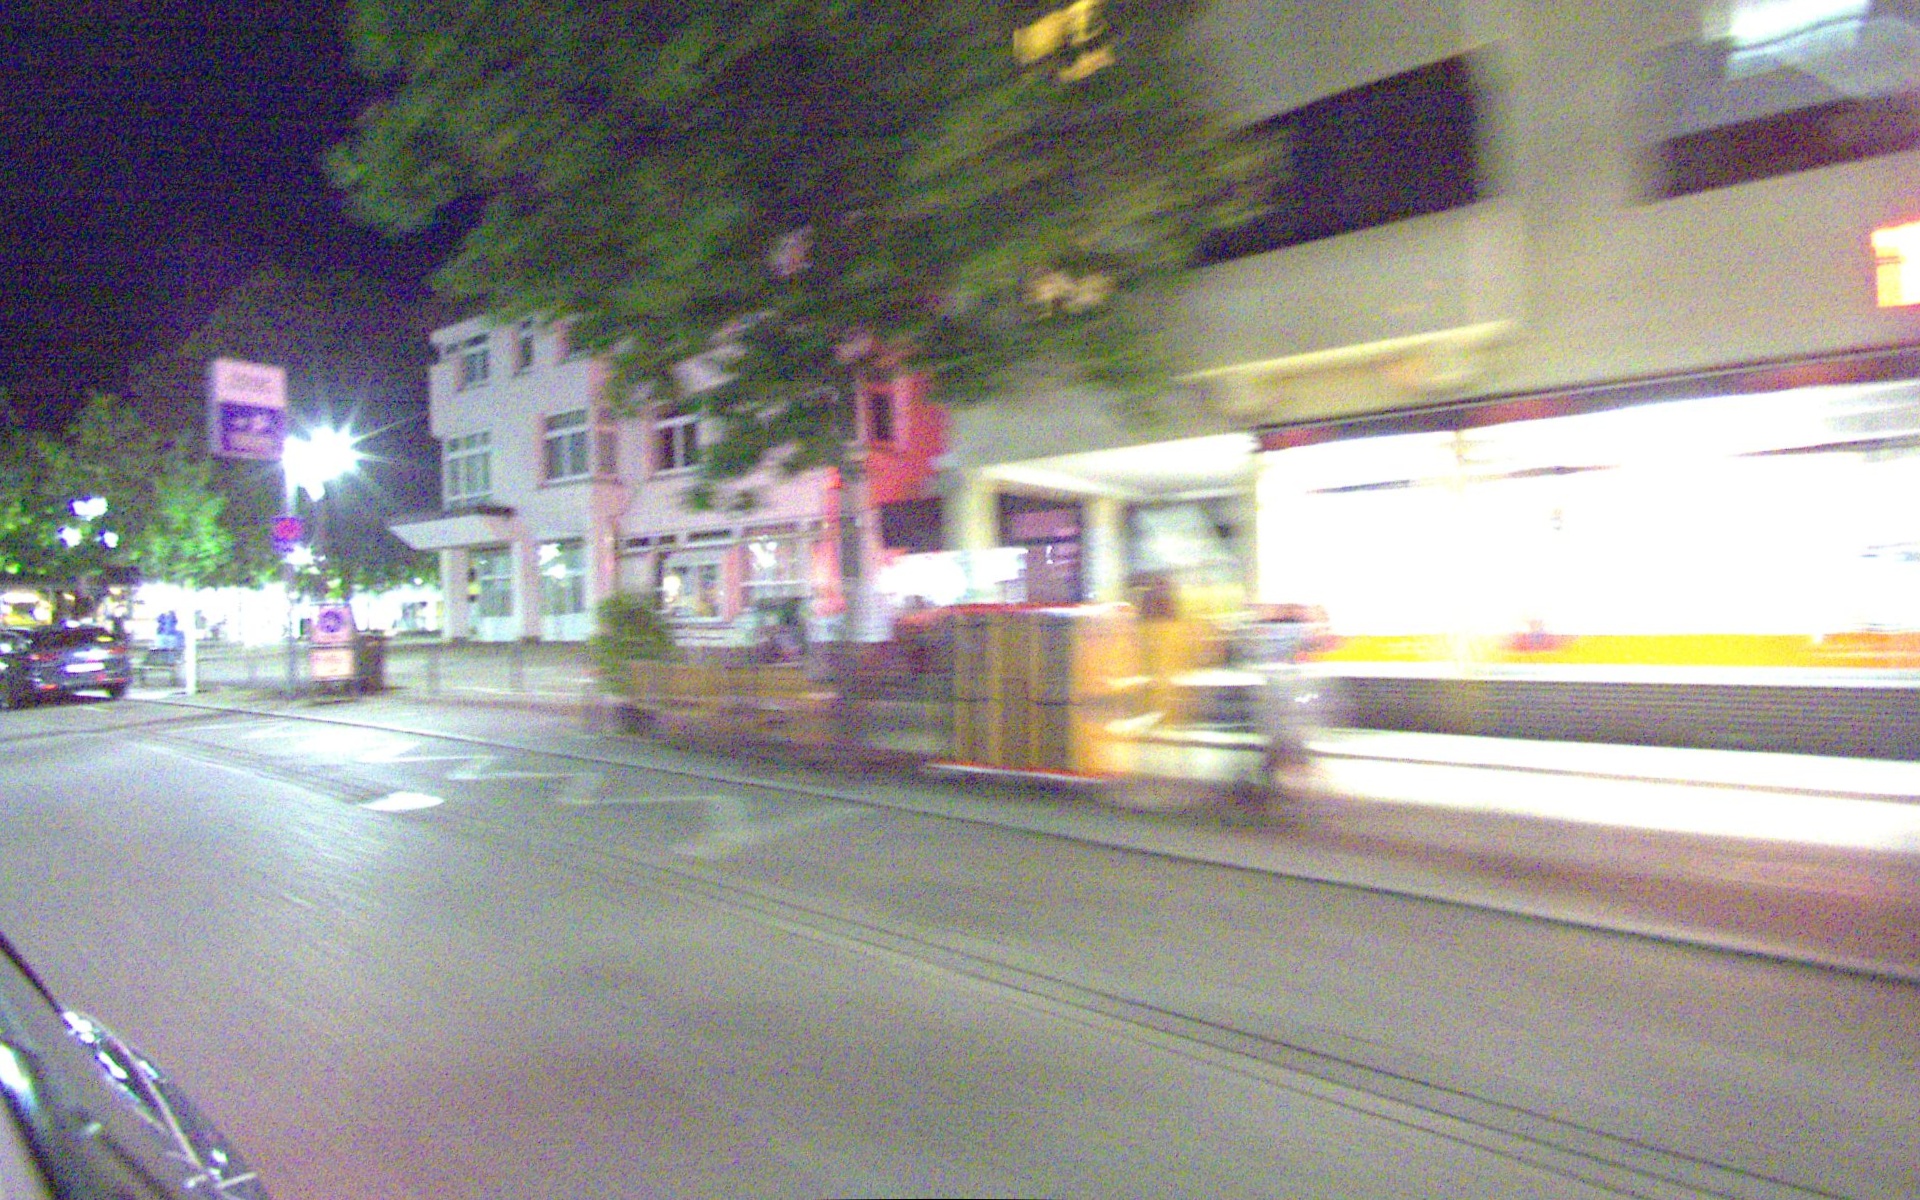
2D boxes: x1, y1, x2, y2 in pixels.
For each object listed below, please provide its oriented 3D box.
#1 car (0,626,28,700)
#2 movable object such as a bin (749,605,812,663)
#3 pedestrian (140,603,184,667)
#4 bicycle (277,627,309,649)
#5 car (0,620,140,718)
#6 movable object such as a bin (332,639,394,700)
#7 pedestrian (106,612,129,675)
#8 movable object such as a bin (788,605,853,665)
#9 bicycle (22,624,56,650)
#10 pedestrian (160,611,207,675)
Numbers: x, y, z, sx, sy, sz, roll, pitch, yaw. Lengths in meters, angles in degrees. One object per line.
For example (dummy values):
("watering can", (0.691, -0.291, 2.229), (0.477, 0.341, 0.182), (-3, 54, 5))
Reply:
("car", (-22.870, 1.421, 22.463), (4.763, 1.553, 1.892), (-2, 0, 30))
("movable object such as a bin", (-4.740, 0.872, 26.785), (1.283, 1.455, 1.028), (0, 1, 34))
("pedestrian", (-23.922, 1.021, 30.351), (0.866, 1.845, 0.793), (-2, 1, -32))
("bicycle", (-44.393, 2.526, 67.352), (2.502, 1.374, 0.767), (0, 0, 32))
("car", (-17.746, 1.255, 19.349), (4.798, 1.650, 1.745), (-2, -1, 32))
("movable object such as a bin", (-11.201, 1.294, 19.000), (0.790, 1.073, 0.741), (0, 0, 32))
("pedestrian", (-24.670, 1.265, 29.623), (0.495, 1.835, 0.504), (0, 0, -43))
("movable object such as a bin", (-3.576, 0.874, 25.954), (1.225, 1.468, 1.122), (0, 1, 34))
("bicycle", (-51.257, 2.026, 56.292), (2.405, 1.374, 0.757), (0, 0, 32))
("pedestrian", (-23.265, 1.263, 30.338), (0.780, 1.831, 1.027), (-2, 1, -21))
